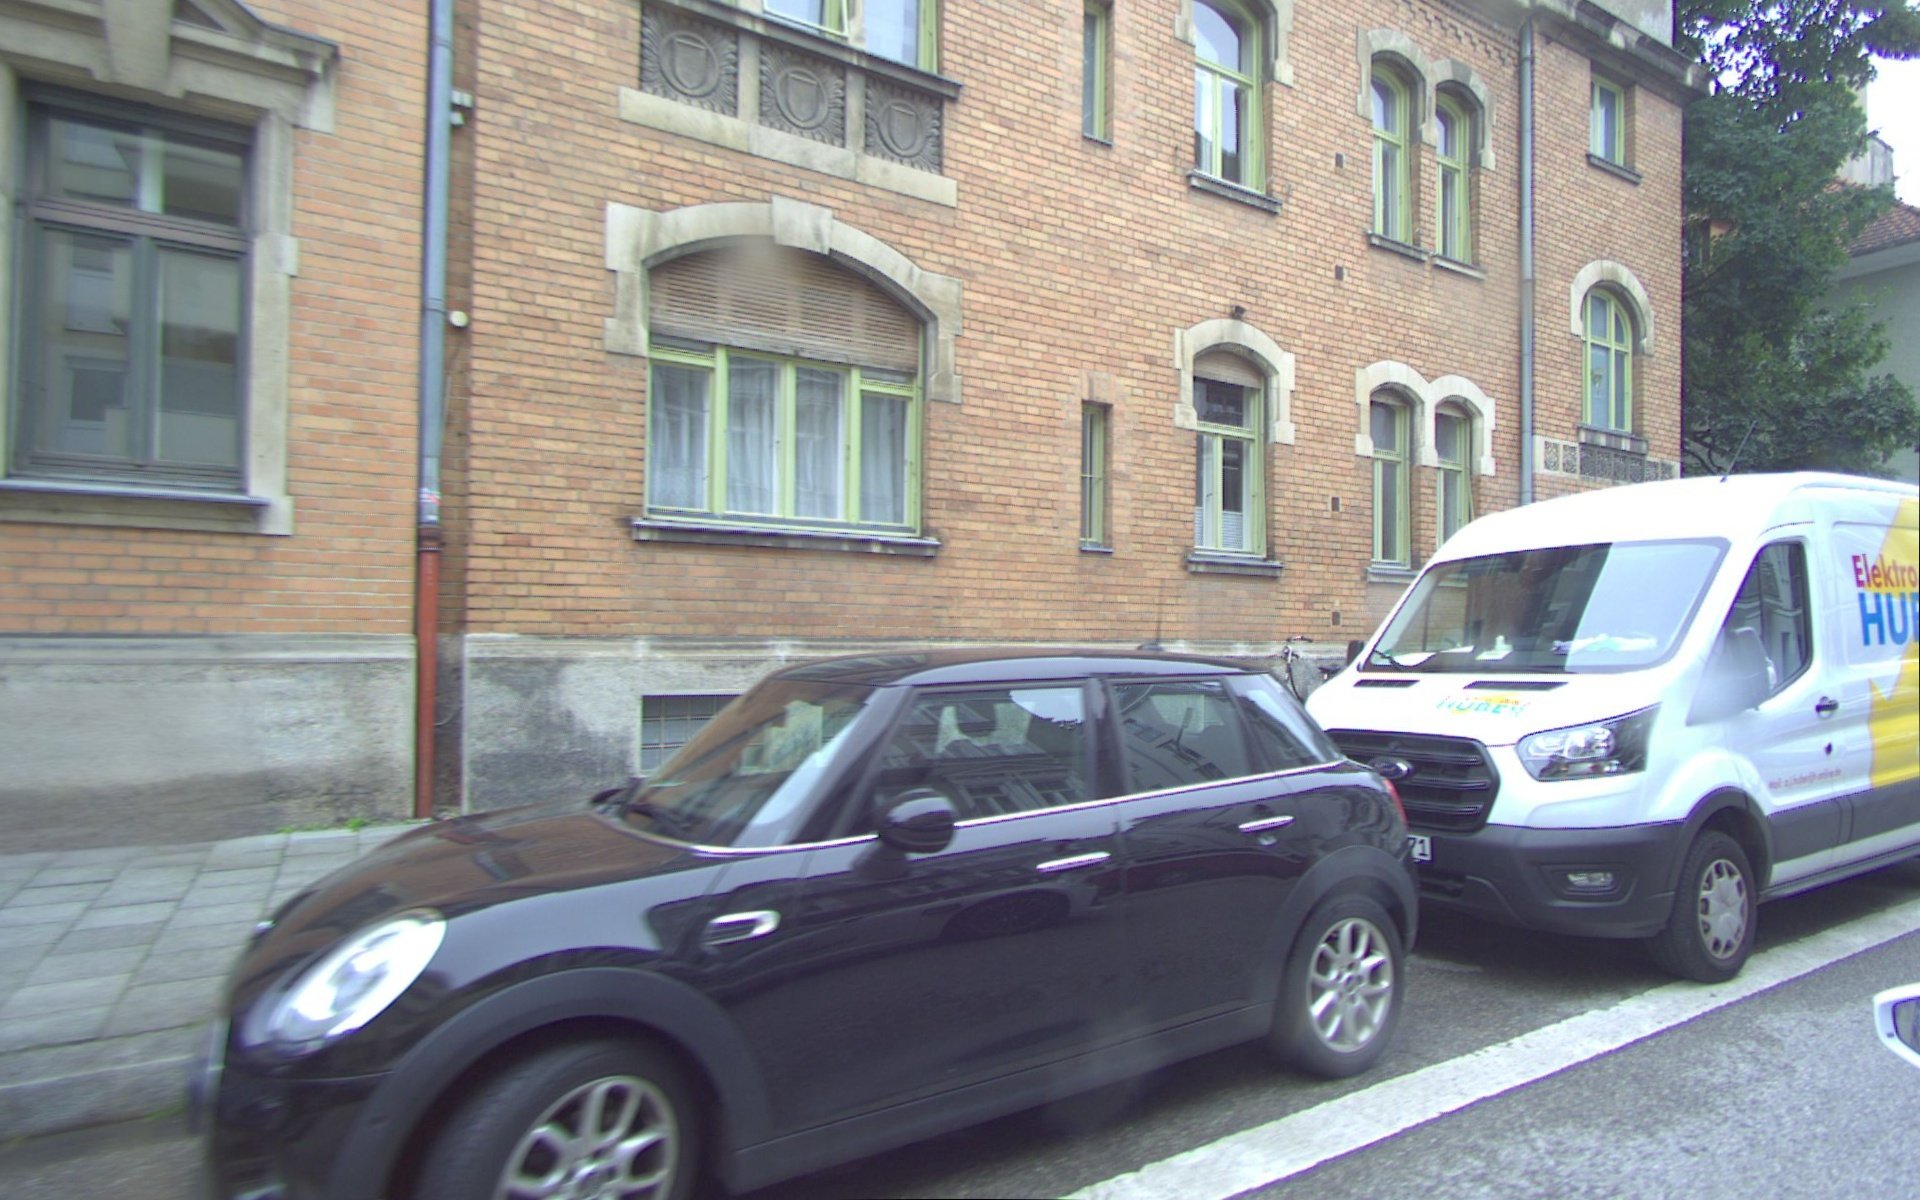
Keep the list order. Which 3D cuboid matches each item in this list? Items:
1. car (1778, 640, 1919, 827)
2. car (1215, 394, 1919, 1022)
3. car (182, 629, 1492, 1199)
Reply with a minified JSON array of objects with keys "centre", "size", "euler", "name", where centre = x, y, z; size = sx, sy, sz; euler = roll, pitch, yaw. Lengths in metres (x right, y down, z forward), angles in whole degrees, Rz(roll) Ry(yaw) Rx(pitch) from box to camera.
[{"centre":[9.231,1.123,8.998],"size":[3.954,1.463,1.735],"euler":[2,-2,-31],"name":"car"},{"centre":[4.254,0.509,6.086],"size":[5.307,2.380,2.127],"euler":[2,-2,-30],"name":"car"},{"centre":[-0.125,0.864,3.452],"size":[3.784,1.450,1.691],"euler":[2,-3,-30],"name":"car"}]
